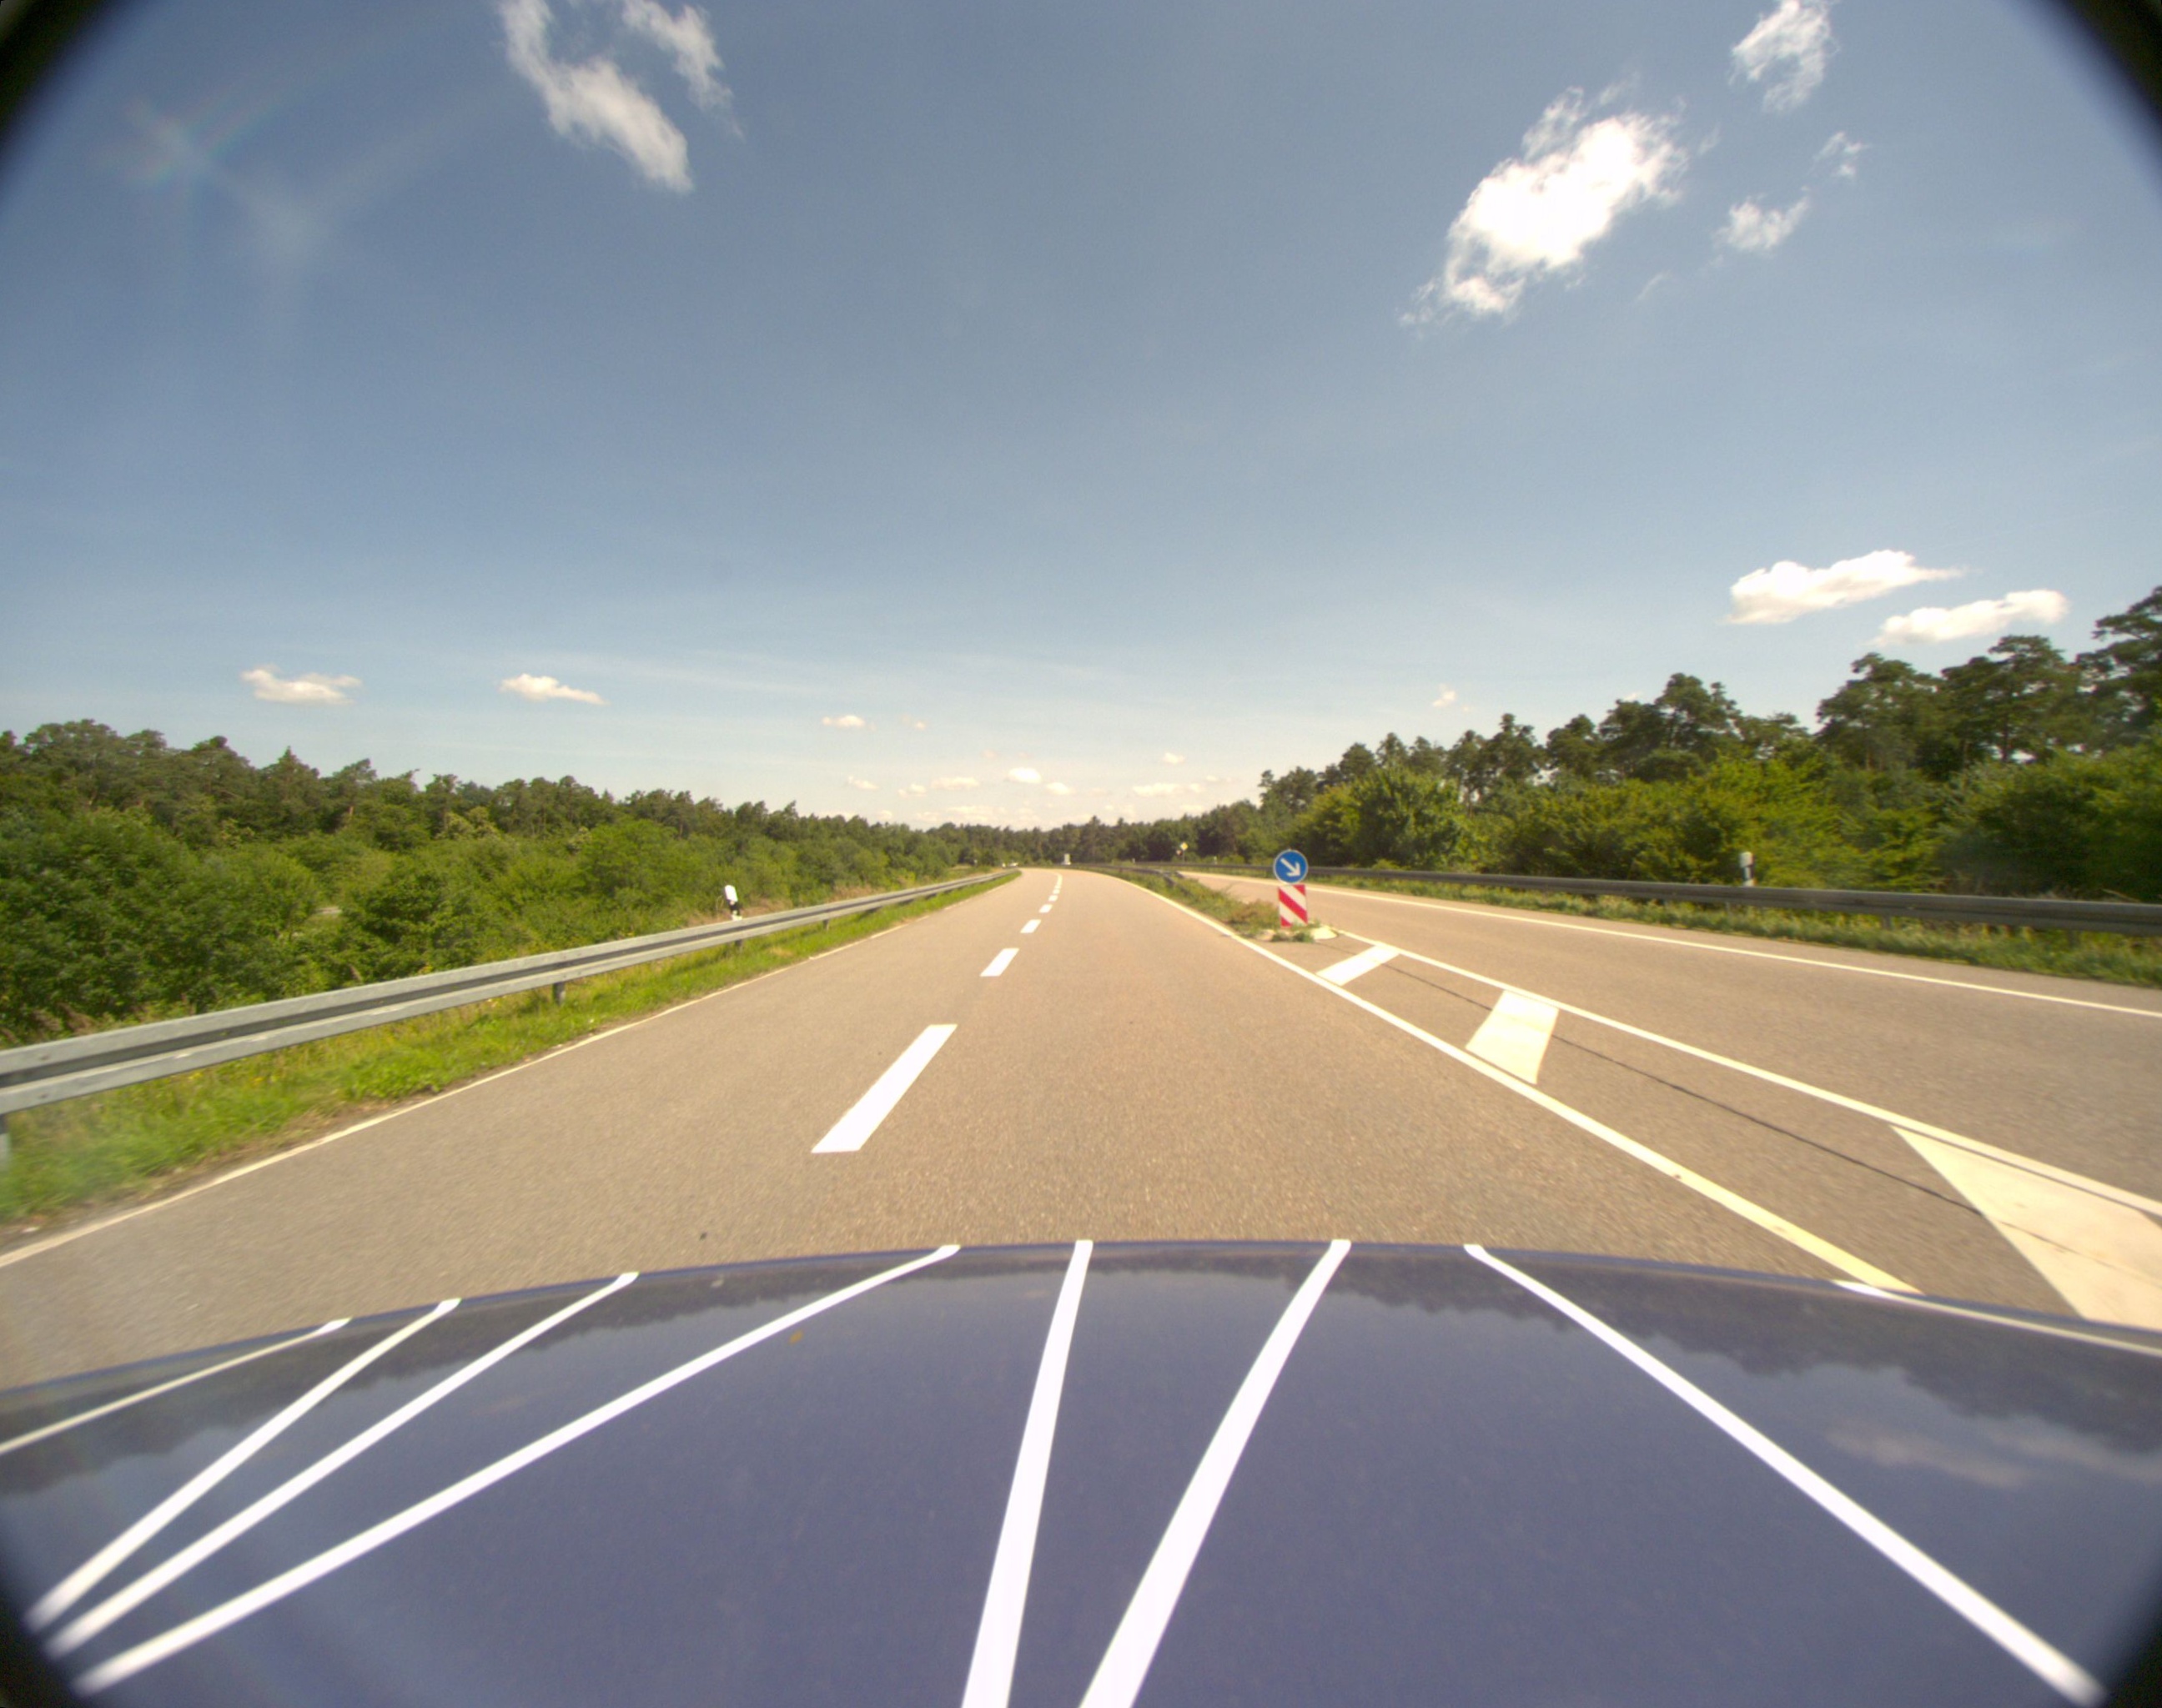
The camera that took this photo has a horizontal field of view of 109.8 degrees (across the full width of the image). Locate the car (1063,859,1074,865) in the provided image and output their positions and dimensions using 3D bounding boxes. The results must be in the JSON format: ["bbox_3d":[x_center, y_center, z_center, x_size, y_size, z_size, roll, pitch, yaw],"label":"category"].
[{"bbox_3d":[-3.228,2.059,194.475,1.955,1.405,4.828,-1,0,-13],"label":"car"}]
